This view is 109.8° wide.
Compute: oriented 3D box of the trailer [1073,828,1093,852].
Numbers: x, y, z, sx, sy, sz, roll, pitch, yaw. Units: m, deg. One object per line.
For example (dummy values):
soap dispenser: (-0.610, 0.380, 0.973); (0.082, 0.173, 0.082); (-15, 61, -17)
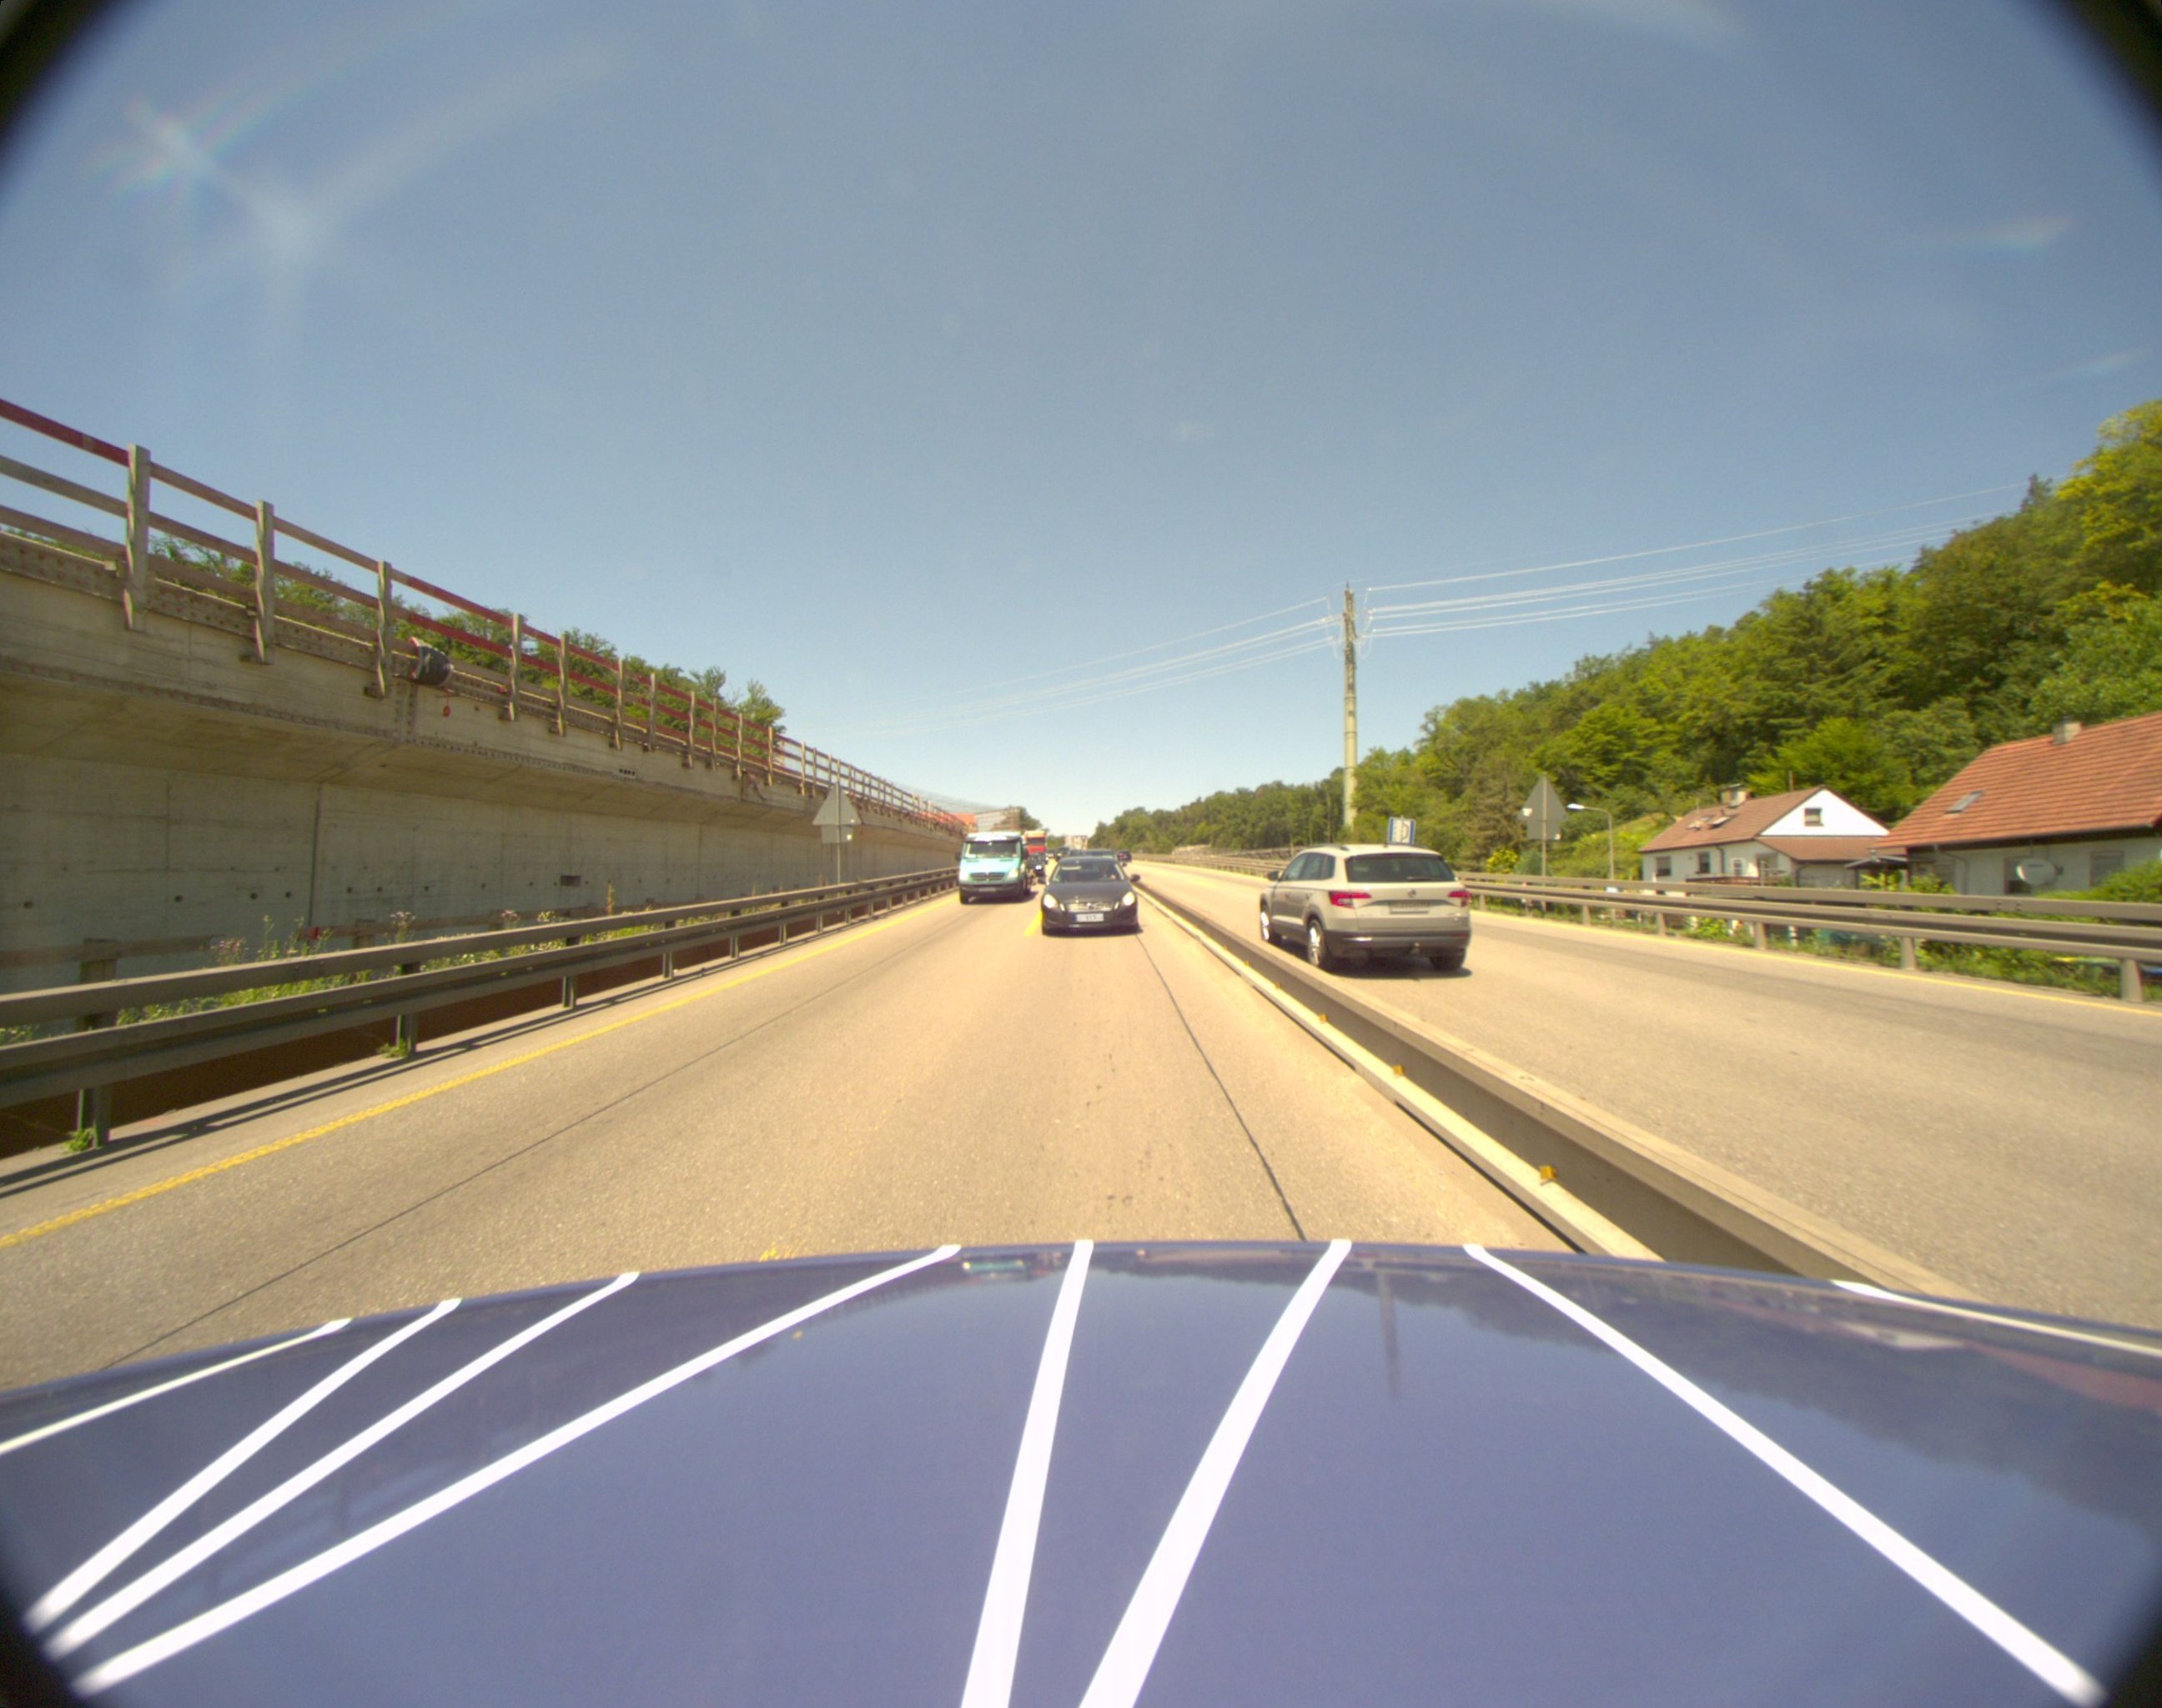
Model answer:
trailer: (0.351, -2.675, 148.433); (3.261, 4.354, 14.052); (-2, 1, -2)

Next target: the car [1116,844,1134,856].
car: (5.228, -0.504, 90.229); (1.846, 1.410, 4.685); (0, 1, 0)

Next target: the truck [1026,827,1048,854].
truck: (-6.042, -1.879, 103.432); (2.472, 3.464, 9.861); (-2, 1, -5)

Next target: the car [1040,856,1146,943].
car: (0.093, 0.822, 15.880); (1.844, 1.475, 4.561); (-1, 0, -3)

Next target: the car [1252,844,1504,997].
car: (3.741, 0.714, 10.438); (1.864, 1.602, 4.068); (-2, 1, 0)

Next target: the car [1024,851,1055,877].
car: (-2.527, 0.585, 46.998); (1.739, 1.401, 3.584); (-2, 1, -1)

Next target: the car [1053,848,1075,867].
car: (-1.299, 0.291, 60.113); (1.647, 1.366, 3.344); (-2, 1, 0)

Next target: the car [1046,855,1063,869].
car: (-2.879, 0.858, 83.217); (1.647, 1.366, 3.344); (-2, 1, 0)

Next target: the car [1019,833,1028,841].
car: (-12.007, -3.603, 159.134); (1.586, 1.666, 3.344); (-2, 1, 0)

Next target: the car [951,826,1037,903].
car: (-2.825, 0.251, 26.410); (2.217, 2.313, 6.899); (-1, 1, -1)

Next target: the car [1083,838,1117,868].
car: (1.050, -0.089, 42.892); (1.736, 1.558, 3.618); (-2, 1, -1)

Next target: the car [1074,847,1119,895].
car: (0.521, 0.568, 27.685); (1.520, 1.543, 3.860); (-1, 1, 0)

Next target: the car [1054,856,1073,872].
car: (-1.660, 0.895, 71.390); (1.647, 1.366, 3.343); (-2, 1, -2)

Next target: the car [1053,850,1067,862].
car: (-2.585, 0.185, 93.772); (1.586, 1.366, 3.344); (-2, 1, 0)

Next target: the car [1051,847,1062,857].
car: (-3.890, -0.333, 120.602); (1.586, 1.366, 3.344); (-2, 1, 0)
